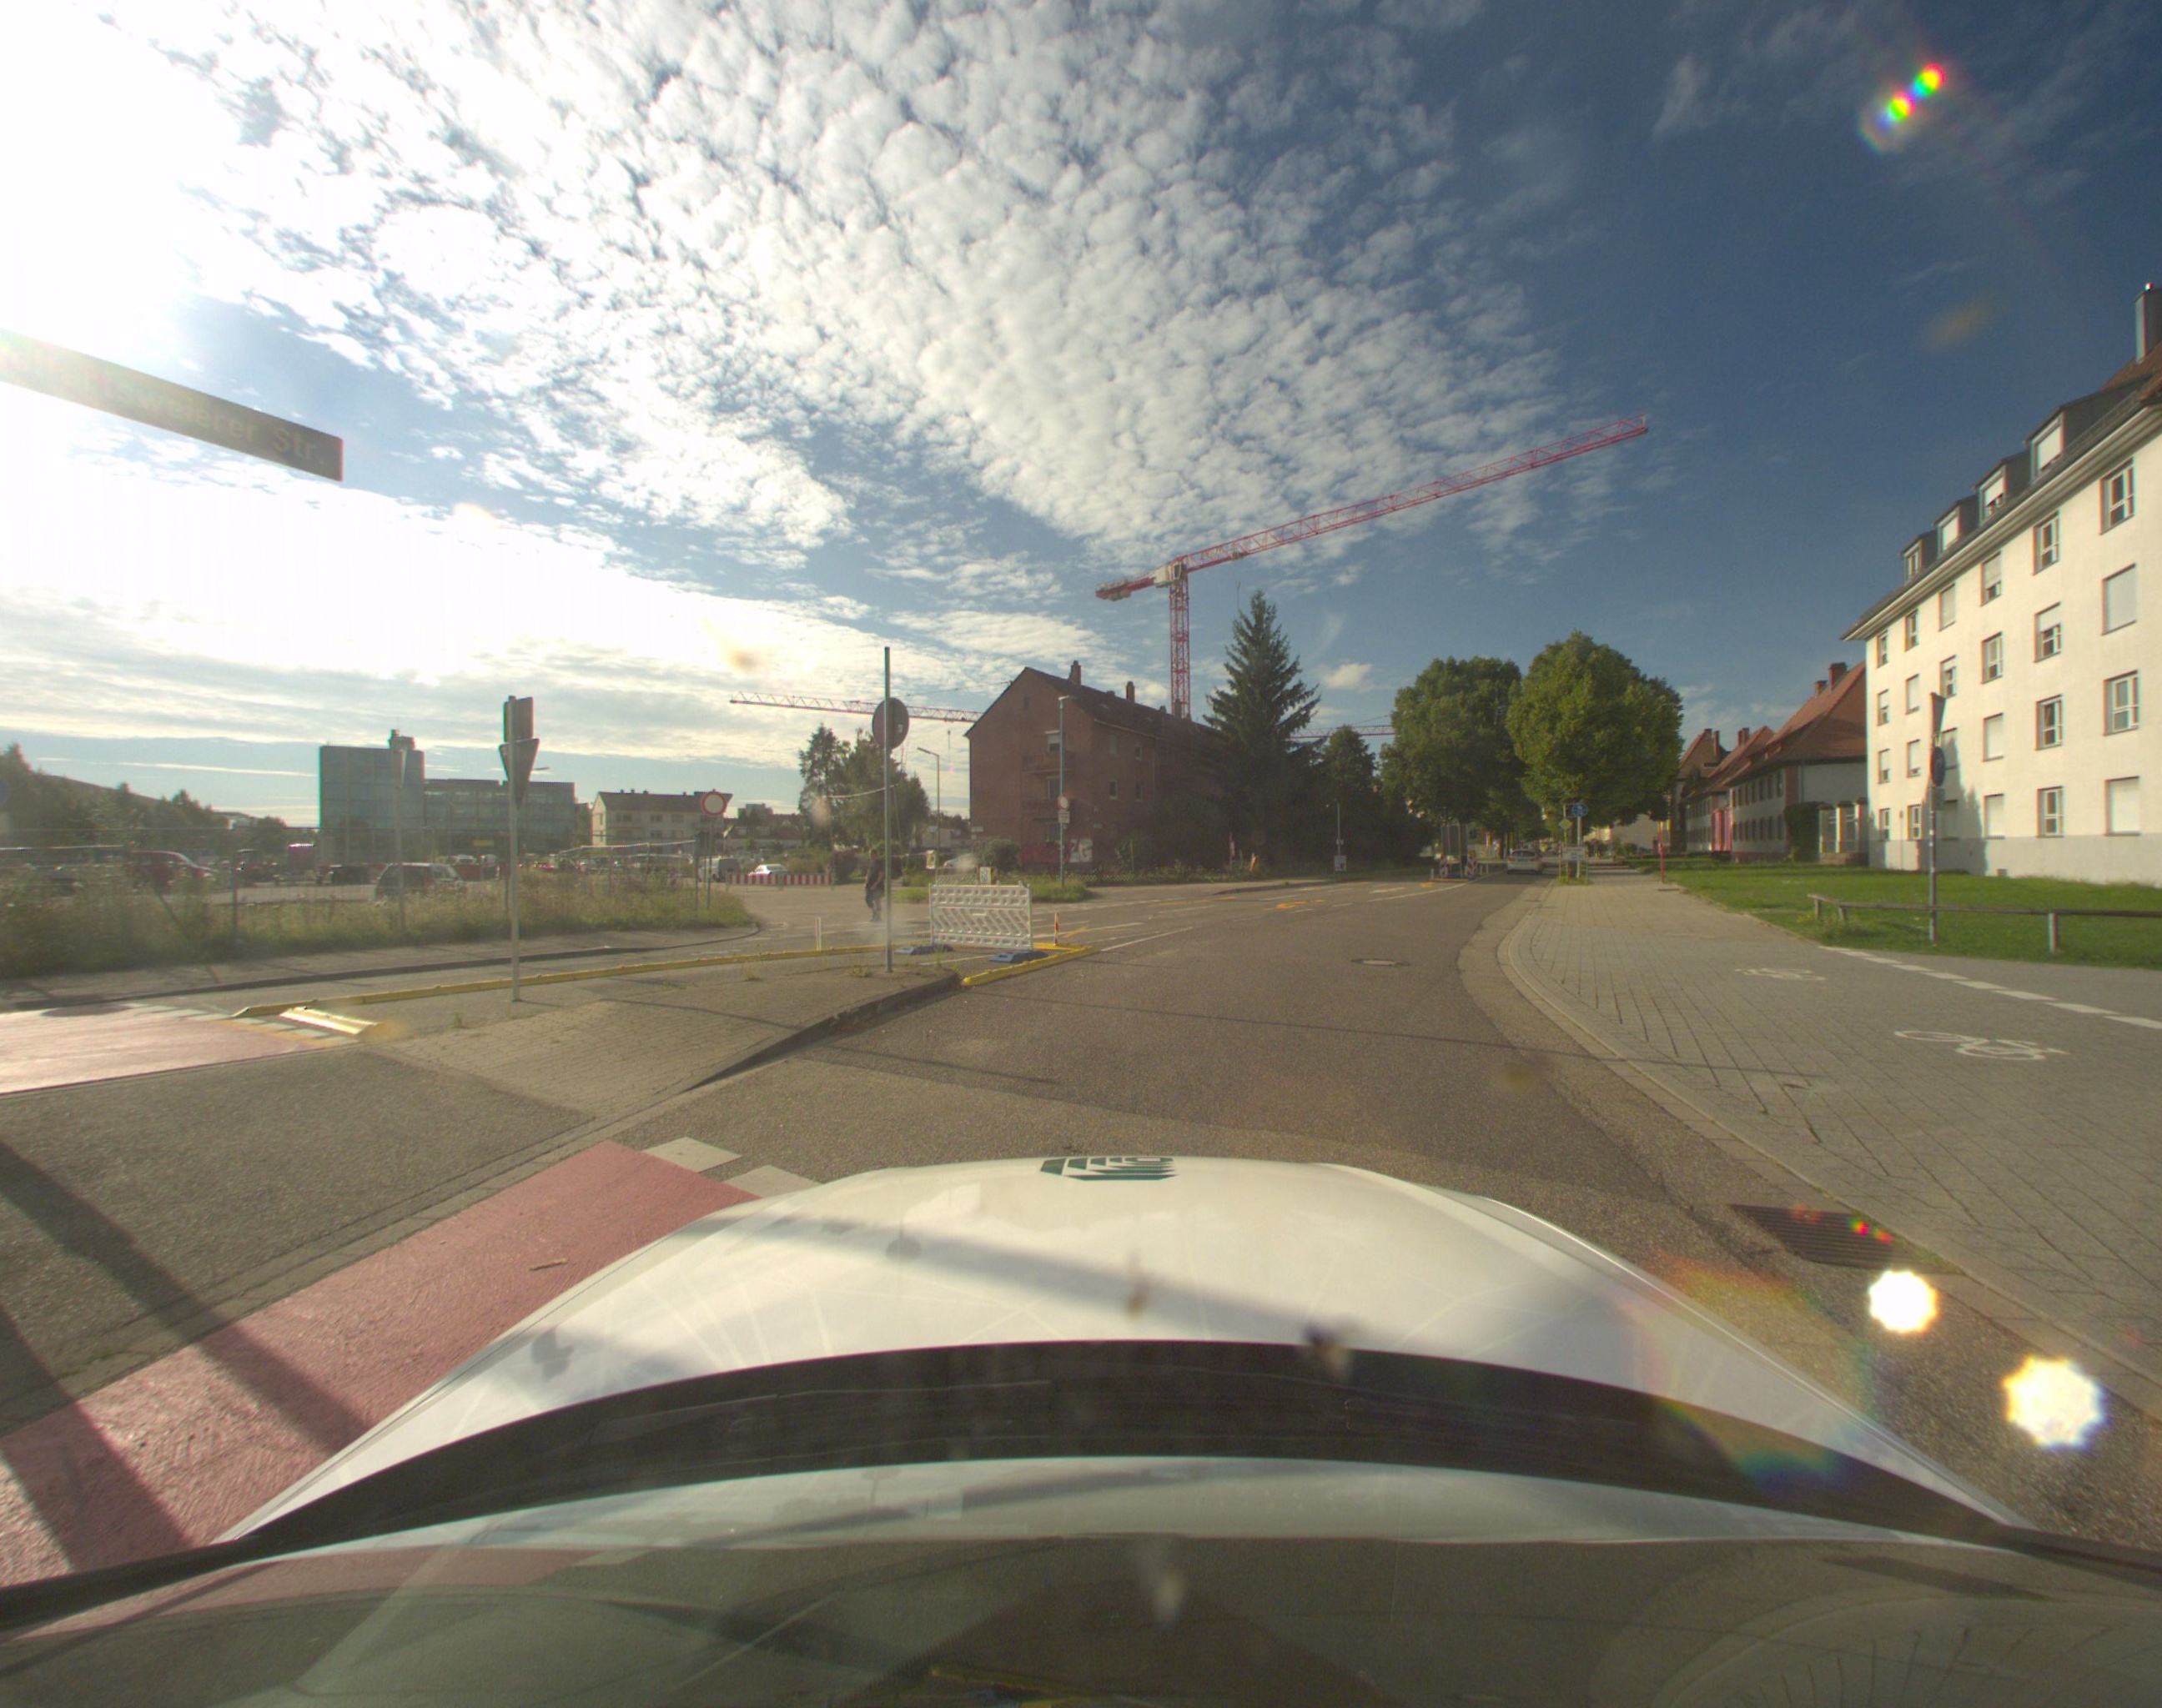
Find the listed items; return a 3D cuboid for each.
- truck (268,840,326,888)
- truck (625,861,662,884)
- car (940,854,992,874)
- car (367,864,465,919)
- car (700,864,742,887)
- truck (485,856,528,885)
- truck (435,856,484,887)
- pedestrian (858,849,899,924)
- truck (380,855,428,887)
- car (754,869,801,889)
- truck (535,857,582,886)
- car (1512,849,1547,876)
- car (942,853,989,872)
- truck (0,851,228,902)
[{"bbox_3d":[-55.762,0.702,57.988,2.833,3.207,7.226,0,-1,-44],"label":"truck"},{"bbox_3d":[-43.594,1.853,81.083,1.992,2.172,5.340,0,-1,-43],"label":"truck"},{"bbox_3d":[-9.301,0.796,66.167,3.977,1.618,1.772,-1,0,-3],"label":"car"},{"bbox_3d":[-23.920,1.265,29.444,1.889,1.816,3.965,0,-1,-27],"label":"car"},{"bbox_3d":[-29.181,1.709,65.927,1.896,1.816,3.951,0,-1,-43],"label":"car"},{"bbox_3d":[-47.105,1.340,66.747,2.075,2.328,5.569,0,-1,-44],"label":"truck"},{"bbox_3d":[-49.429,1.368,64.685,2.348,2.328,6.373,0,-1,-44],"label":"truck"},{"bbox_3d":[-5.128,0.813,20.670,0.662,1.871,0.838,-1,-1,15],"label":"pedestrian"},{"bbox_3d":[-51.722,1.247,62.206,2.348,2.328,6.373,0,-1,-44],"label":"truck"},{"bbox_3d":[-21.557,1.754,57.824,1.731,1.393,3.951,0,-1,-43],"label":"car"},{"bbox_3d":[-44.172,1.468,68.799,2.306,2.328,5.569,0,-1,-44],"label":"truck"},{"bbox_3d":[27.920,0.520,50.721,1.833,1.572,4.482,0,0,29],"label":"car"},{"bbox_3d":[-10.221,0.757,71.854,3.991,1.618,1.765,-1,0,-13],"label":"car"},{"bbox_3d":[-52.525,1.150,44.510,7.901,2.567,3.038,0,-1,-41],"label":"truck"}]
